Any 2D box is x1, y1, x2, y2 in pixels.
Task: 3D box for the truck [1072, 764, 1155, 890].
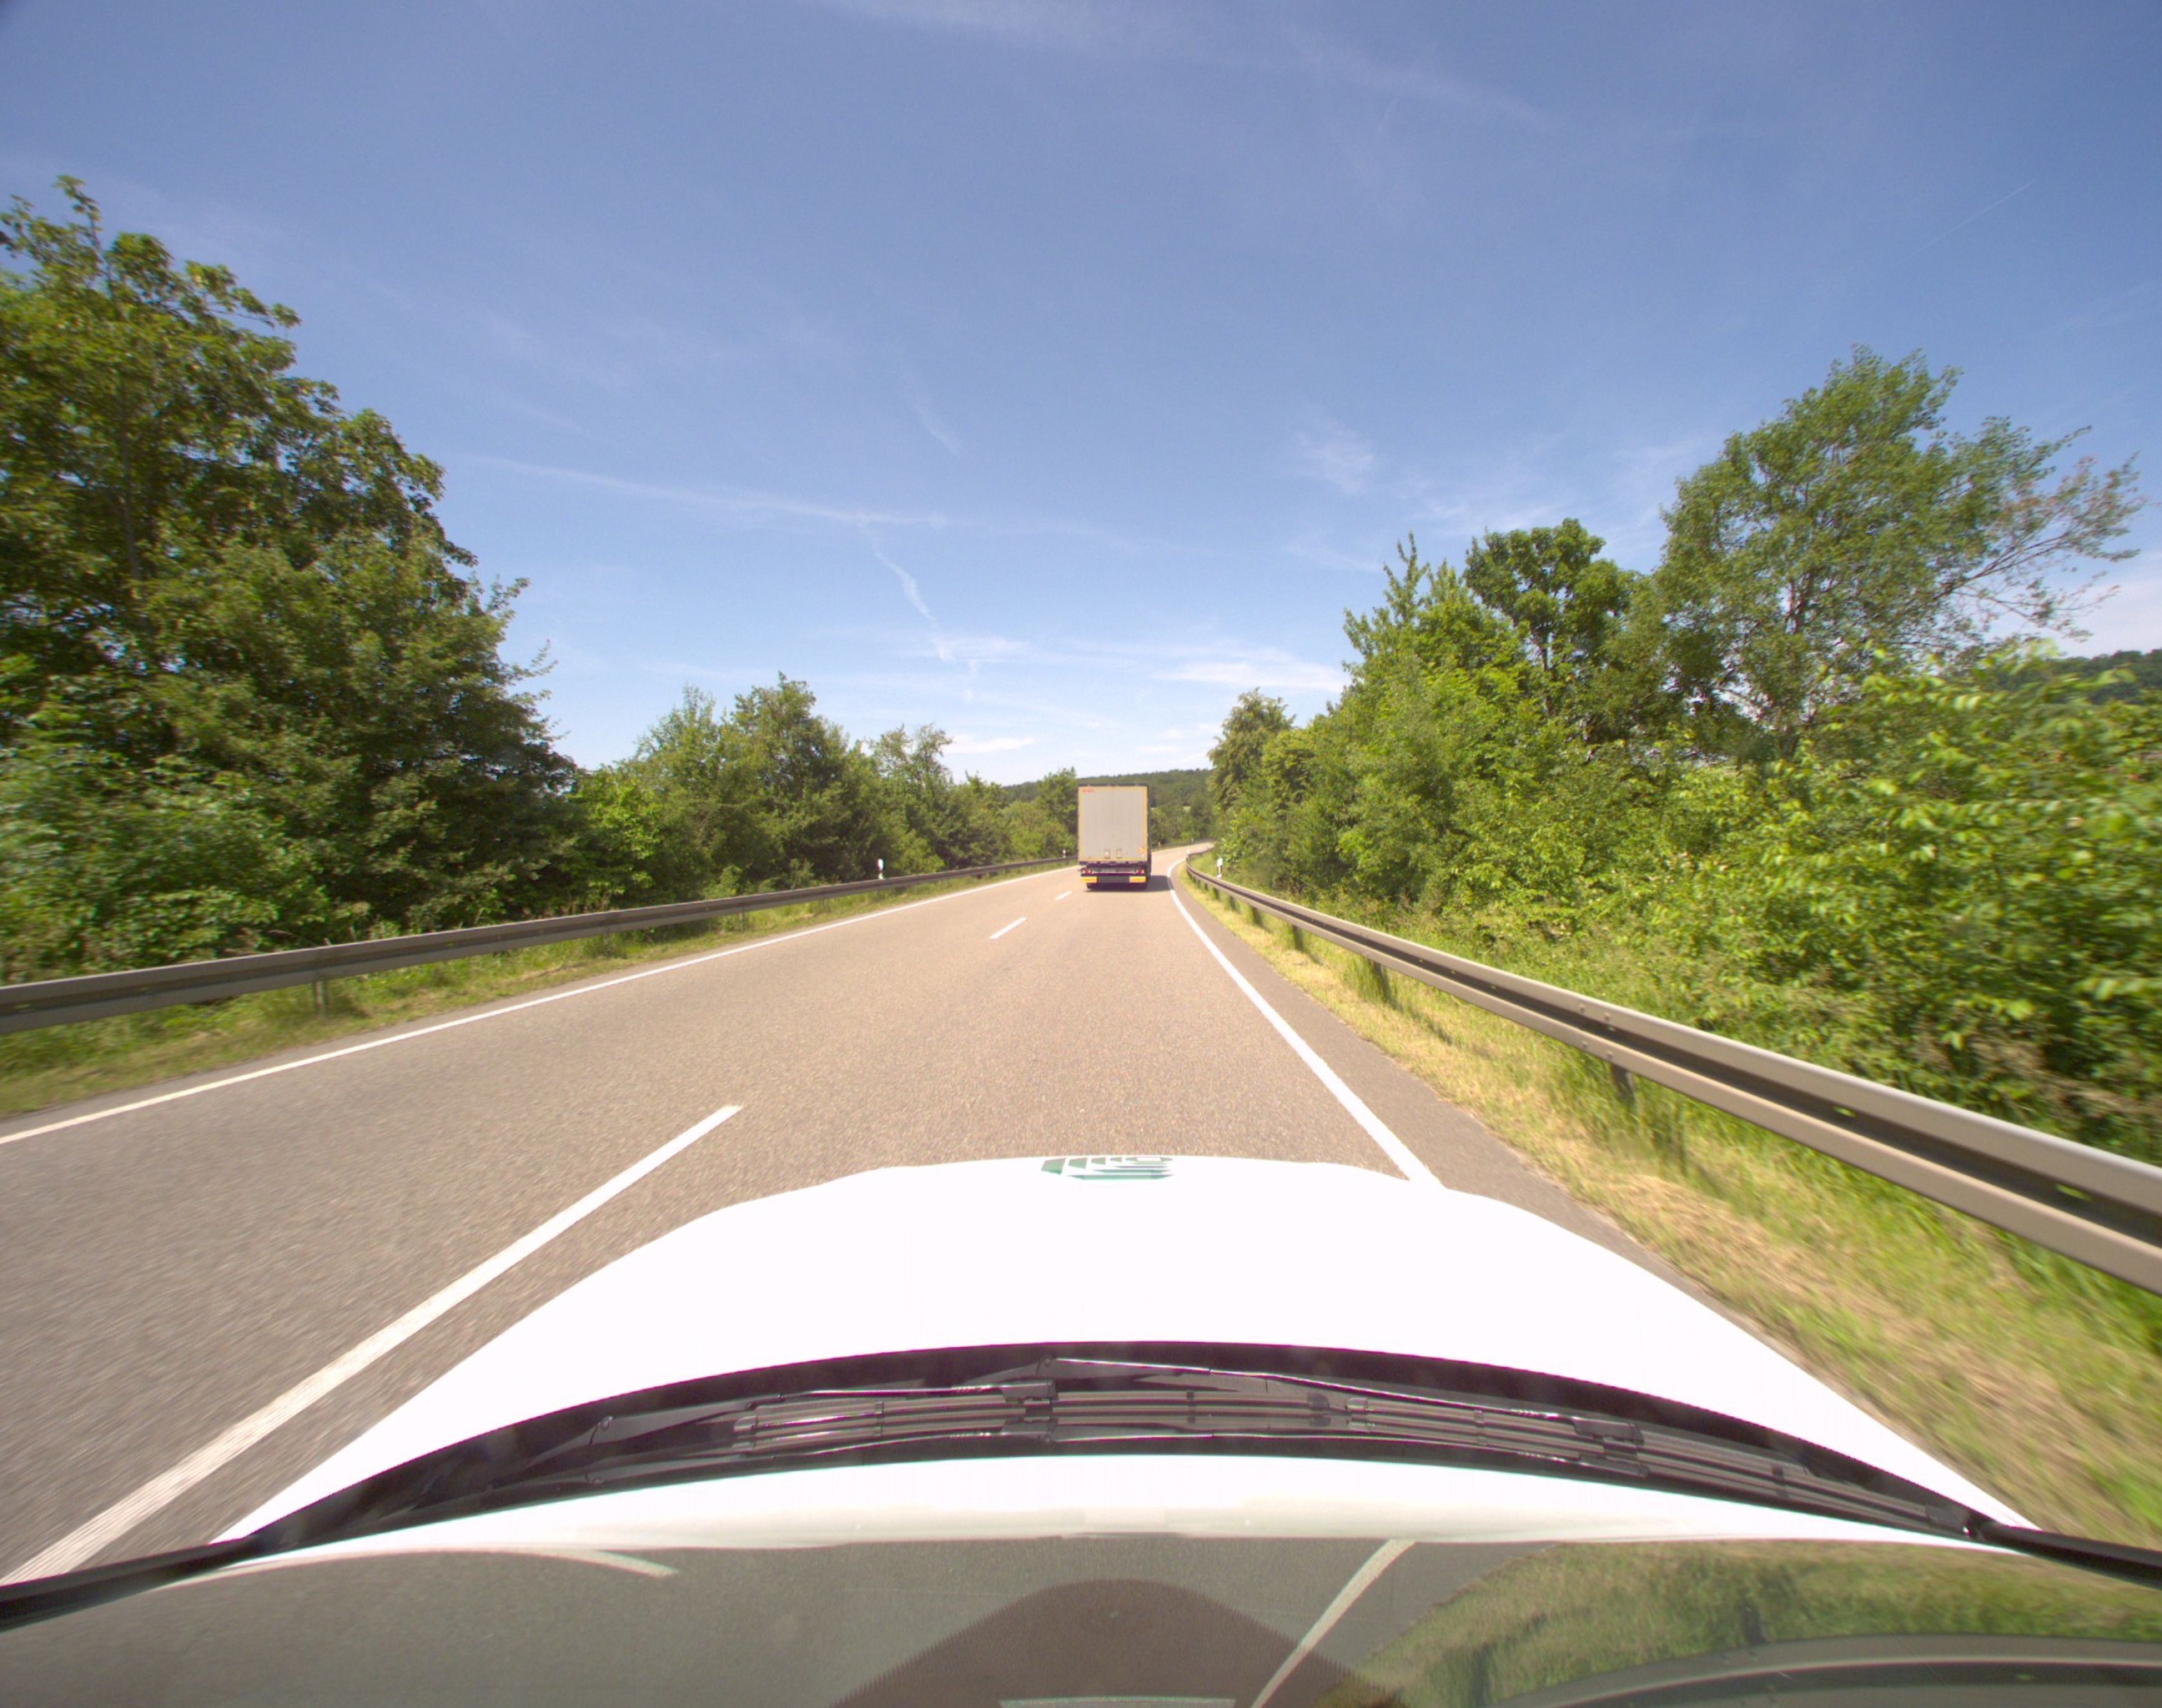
[{"bbox_3d":[1.702,-0.985,35.332,2.803,4.532,11.787,-1,0,6],"label":"truck"}]
